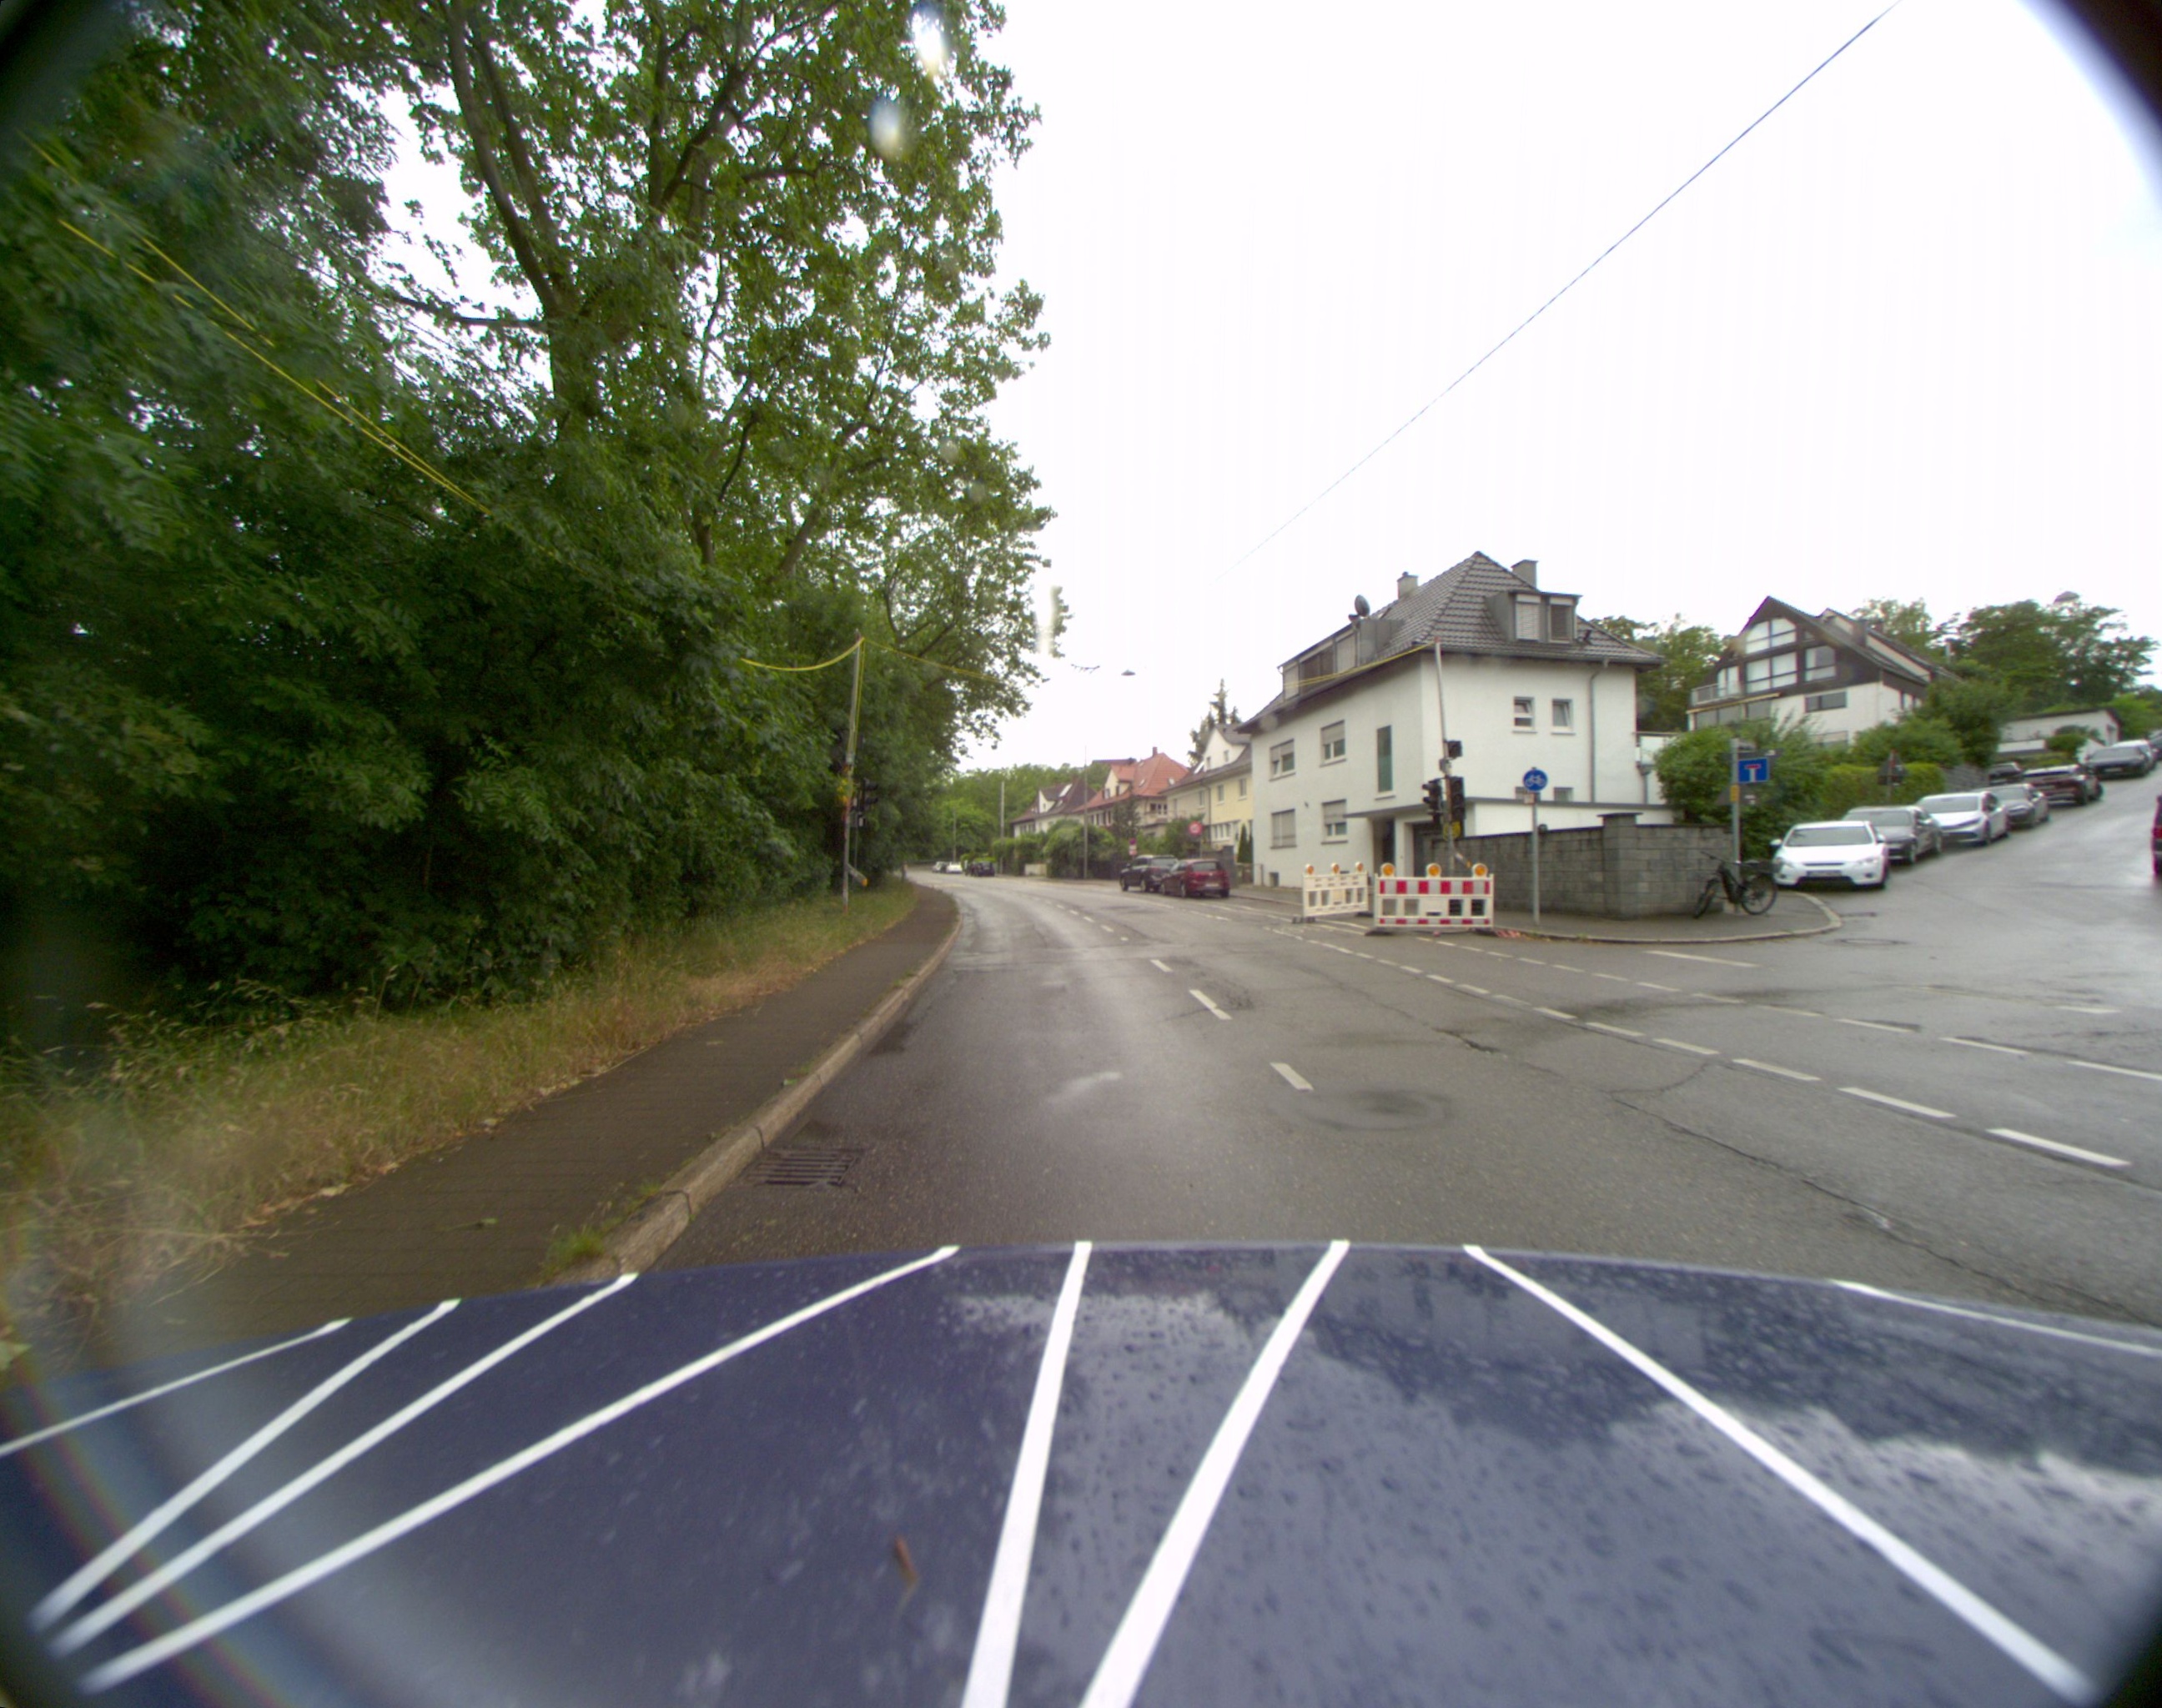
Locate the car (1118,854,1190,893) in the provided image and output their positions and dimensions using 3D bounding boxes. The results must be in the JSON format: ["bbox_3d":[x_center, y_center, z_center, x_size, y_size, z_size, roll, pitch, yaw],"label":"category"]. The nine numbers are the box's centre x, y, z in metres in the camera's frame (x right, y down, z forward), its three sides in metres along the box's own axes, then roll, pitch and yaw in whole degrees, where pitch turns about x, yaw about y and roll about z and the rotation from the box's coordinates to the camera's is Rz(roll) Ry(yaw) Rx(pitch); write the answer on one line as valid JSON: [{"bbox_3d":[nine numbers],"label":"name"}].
[{"bbox_3d":[3.226,0.867,34.715,1.761,1.648,4.399,1,-1,-16],"label":"car"}]

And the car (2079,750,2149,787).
[{"bbox_3d":[54.183,-4.449,39.833,4.006,1.711,1.886,-4,3,-32],"label":"car"}]

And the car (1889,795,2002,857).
[{"bbox_3d":[27.091,-0.887,23.785,4.006,1.711,1.886,-4,3,-35],"label":"car"}]

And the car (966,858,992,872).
[{"bbox_3d":[-10.649,1.178,79.118,1.695,1.410,4.208,1,-1,-21],"label":"car"}]

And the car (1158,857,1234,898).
[{"bbox_3d":[4.375,0.881,29.581,1.622,1.432,4.226,-1,-1,-10],"label":"car"}]

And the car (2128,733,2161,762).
[{"bbox_3d":[68.562,-6.766,47.164,1.894,1.711,3.990,-4,2,-30],"label":"car"}]

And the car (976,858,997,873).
[{"bbox_3d":[-9.304,1.164,75.033,1.525,1.445,3.025,1,-1,-18],"label":"car"}]

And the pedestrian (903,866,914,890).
[{"bbox_3d":[-11.819,1.609,52.026,0.644,1.602,0.668,-1,2,-19],"label":"pedestrian"}]

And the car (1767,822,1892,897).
[{"bbox_3d":[17.742,0.065,17.958,4.007,1.458,1.886,-5,3,-42],"label":"car"}]

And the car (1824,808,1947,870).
[{"bbox_3d":[22.533,-0.446,21.236,4.006,1.458,1.886,-4,3,-36],"label":"car"}]

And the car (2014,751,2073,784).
[{"bbox_3d":[57.505,-5.141,45.448,4.007,1.711,1.886,-5,3,-42],"label":"car"}]

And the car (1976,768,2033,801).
[{"bbox_3d":[52.951,-3.966,43.620,4.007,1.711,1.886,-5,3,-42],"label":"car"}]

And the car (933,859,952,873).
[{"bbox_3d":[-18.803,1.611,102.947,1.739,1.414,4.274,-5,4,-19],"label":"car"}]

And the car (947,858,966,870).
[{"bbox_3d":[-15.240,1.210,93.086,1.705,1.459,3.704,-1,0,-20],"label":"car"}]

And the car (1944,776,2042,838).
[{"bbox_3d":[32.192,-1.683,26.803,4.006,1.981,1.886,-4,3,-35],"label":"car"}]

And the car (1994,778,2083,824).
[{"bbox_3d":[40.149,-2.233,31.856,4.006,1.711,1.886,-4,3,-32],"label":"car"}]

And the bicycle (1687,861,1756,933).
[{"bbox_3d":[11.180,0.722,13.256,1.521,1.118,0.462,-4,3,-32],"label":"bicycle"}]

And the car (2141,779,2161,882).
[{"bbox_3d":[23.736,-0.577,15.642,4.005,1.909,1.995,-7,4,-32],"label":"car"}]
